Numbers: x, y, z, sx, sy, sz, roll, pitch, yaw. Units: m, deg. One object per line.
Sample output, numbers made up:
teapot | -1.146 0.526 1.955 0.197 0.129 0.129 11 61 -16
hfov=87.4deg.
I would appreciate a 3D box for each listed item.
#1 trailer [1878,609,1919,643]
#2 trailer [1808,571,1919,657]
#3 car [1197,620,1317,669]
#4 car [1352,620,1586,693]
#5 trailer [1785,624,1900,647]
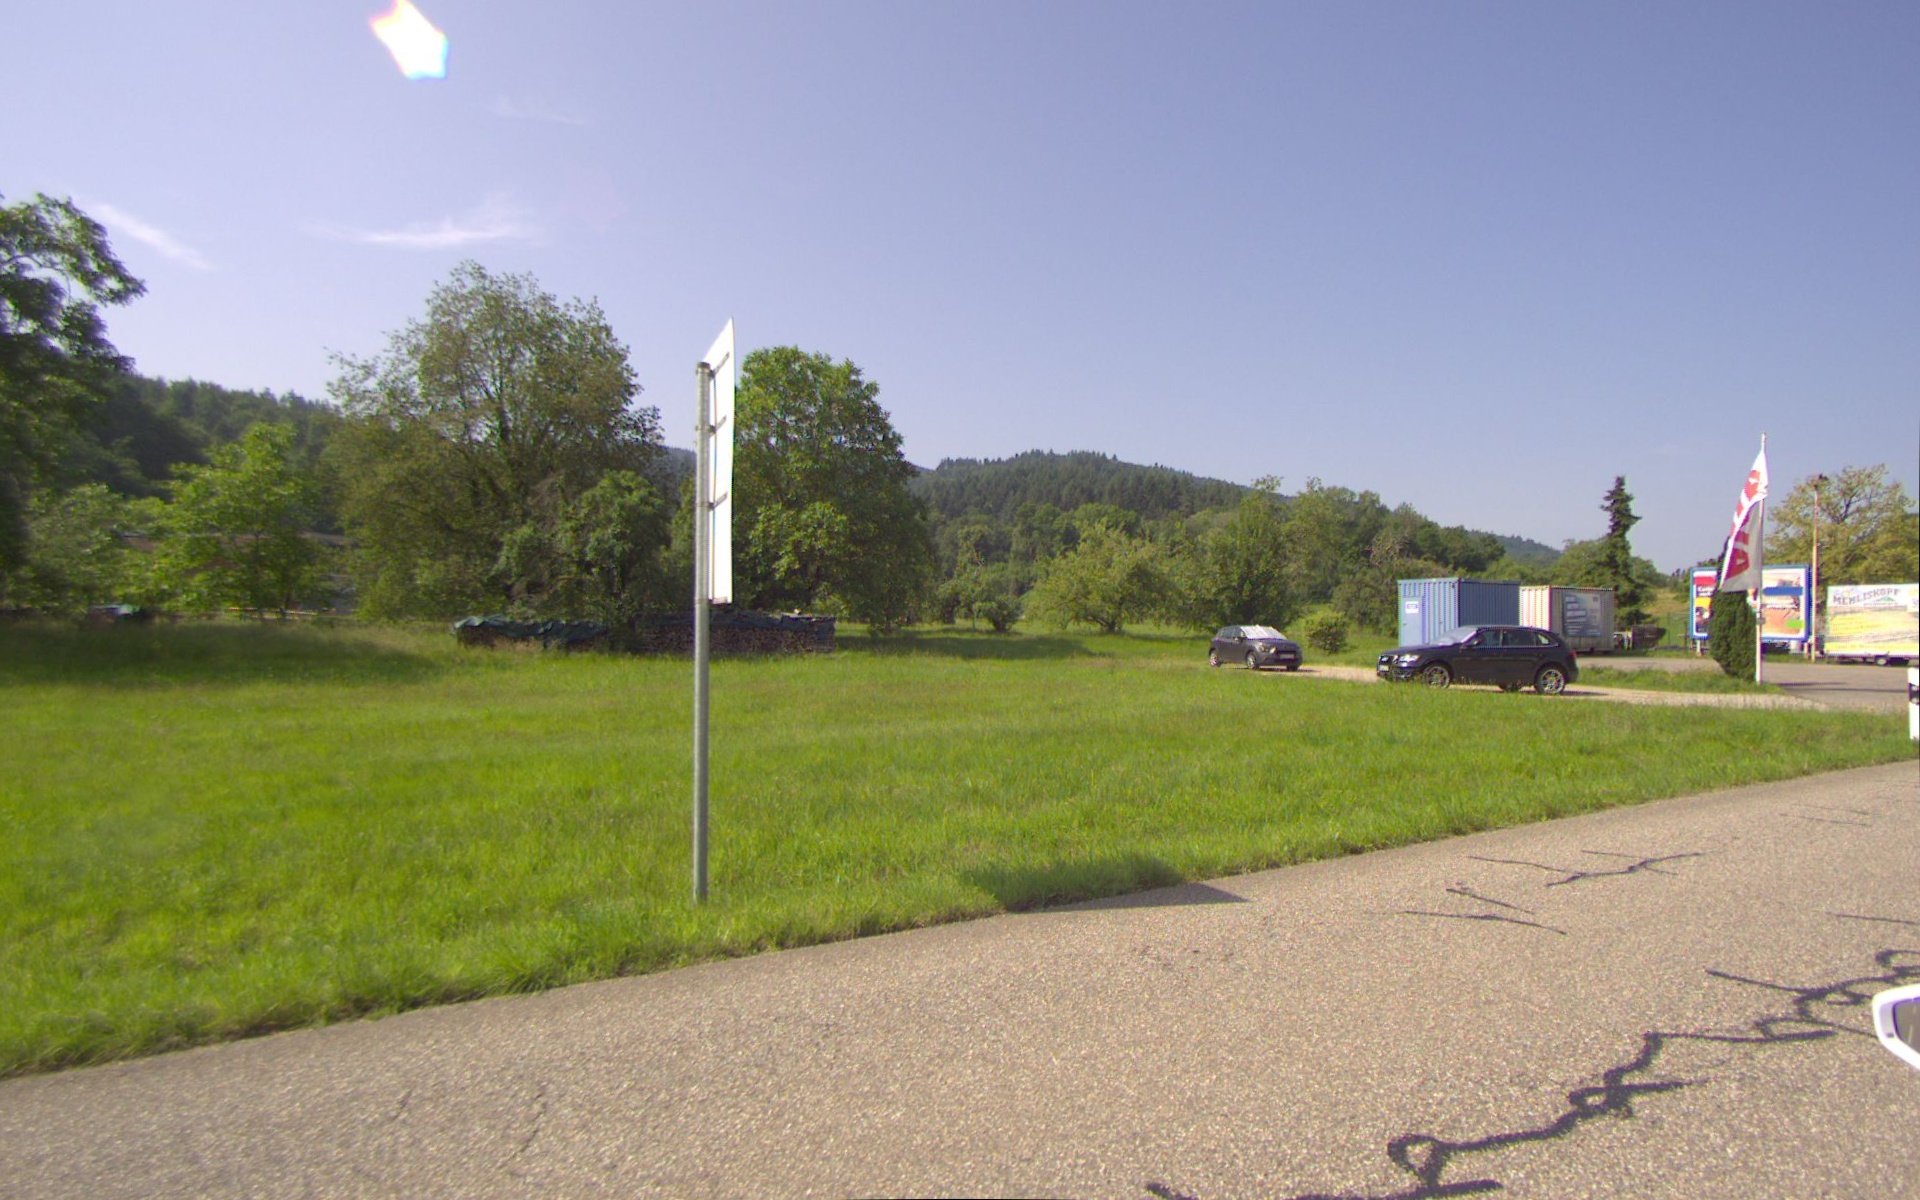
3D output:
trailer | 37.607 1.016 38.822 5.490 1.243 1.980 1 0 -35
trailer | 33.109 0.489 36.366 1.866 2.951 3.367 0 0 -37
car | 9.986 1.469 34.073 1.890 1.505 3.912 0 -1 -23
car | 12.347 1.339 24.539 4.812 1.670 1.836 0 0 -2
trailer | 43.534 1.749 49.622 1.847 0.952 3.911 2 -1 -32
